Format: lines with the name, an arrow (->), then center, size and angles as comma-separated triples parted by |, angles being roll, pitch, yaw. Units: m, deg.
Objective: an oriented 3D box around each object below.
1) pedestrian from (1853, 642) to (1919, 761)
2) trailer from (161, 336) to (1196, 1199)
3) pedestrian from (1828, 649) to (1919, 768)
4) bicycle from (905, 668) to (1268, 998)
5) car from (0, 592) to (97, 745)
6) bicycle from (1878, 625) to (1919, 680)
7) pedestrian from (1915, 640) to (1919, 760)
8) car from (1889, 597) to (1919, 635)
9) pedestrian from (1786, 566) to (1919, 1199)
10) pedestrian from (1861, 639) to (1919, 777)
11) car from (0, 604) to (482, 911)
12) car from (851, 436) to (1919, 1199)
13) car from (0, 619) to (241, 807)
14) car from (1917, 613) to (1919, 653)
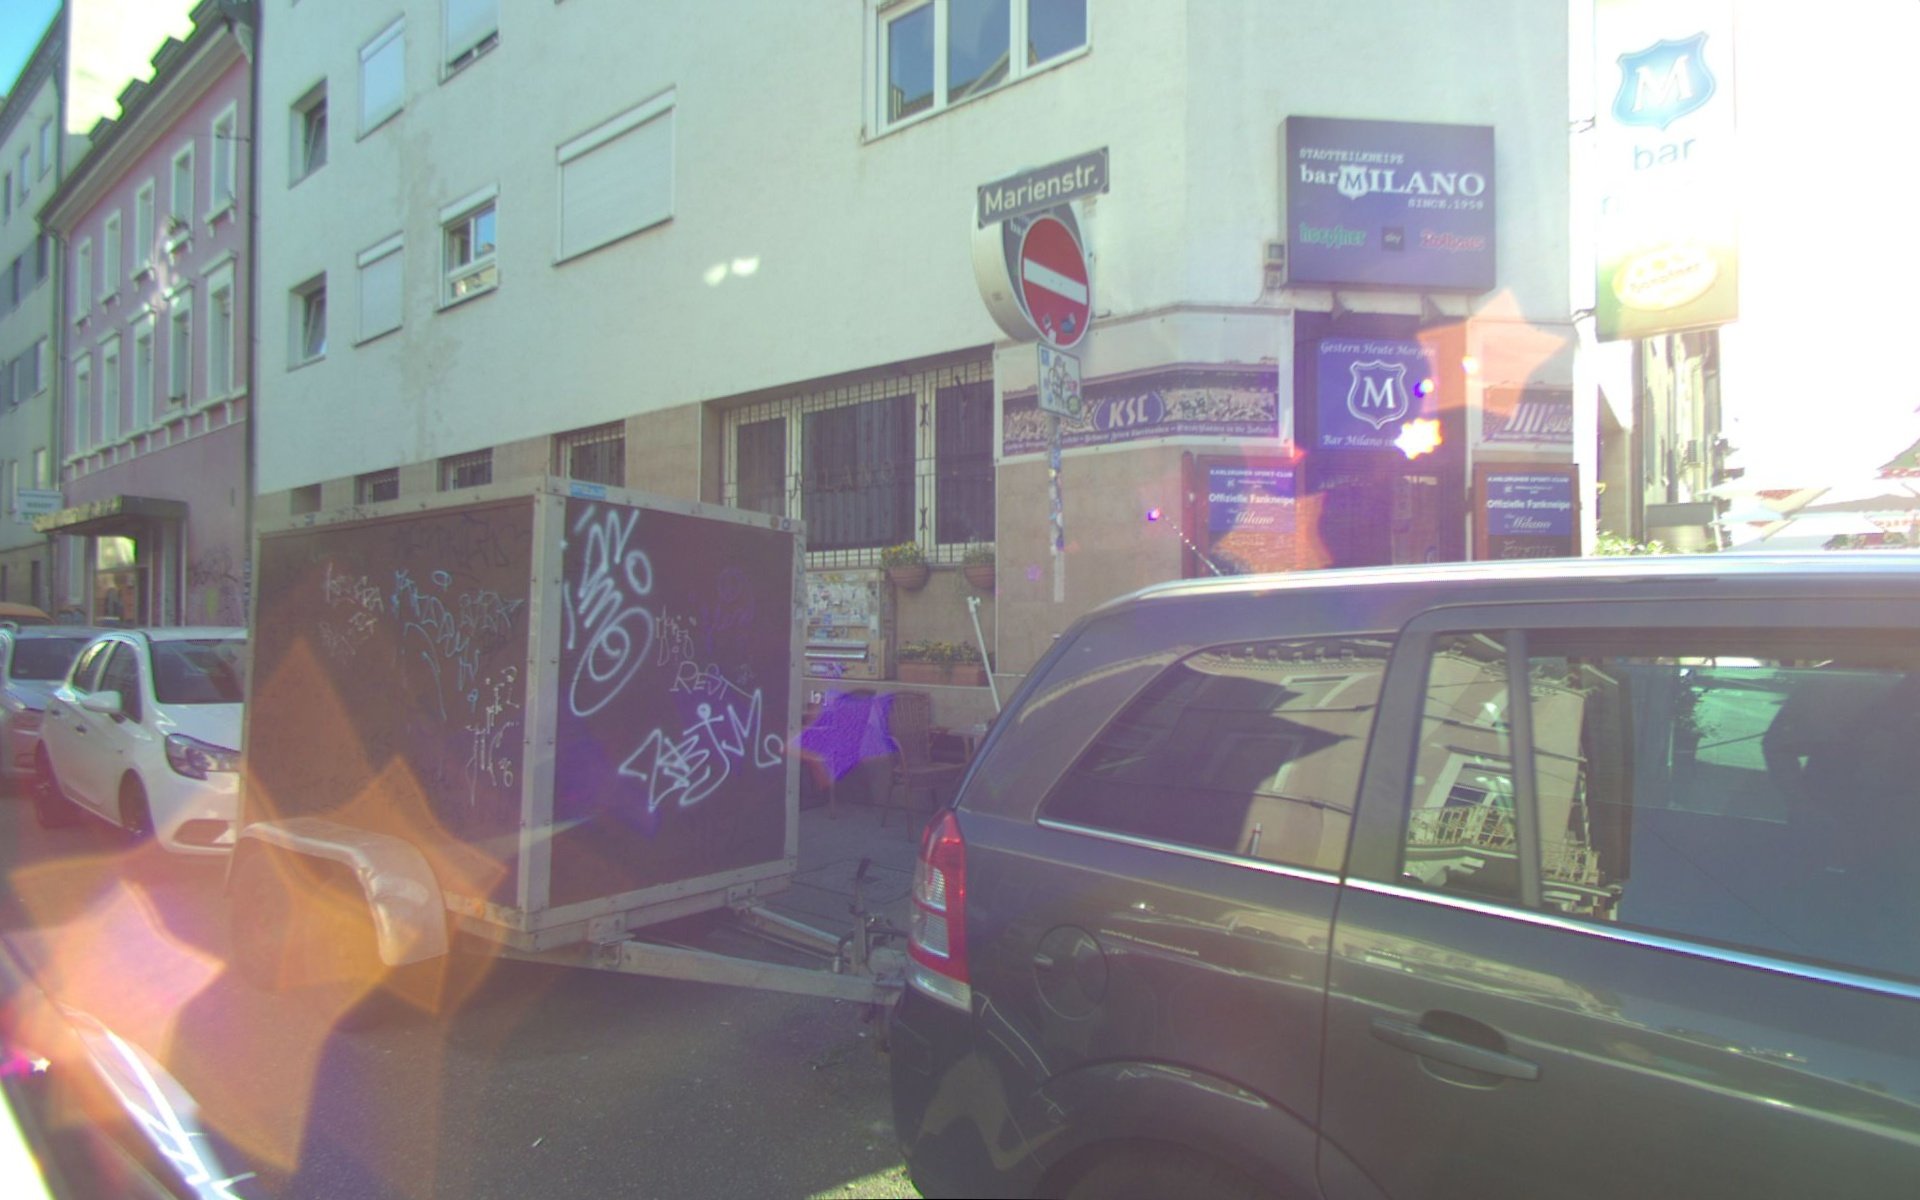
pedestrian -> 10.741, 1.133, 11.528 | 0.648, 1.275, 0.617 | -1, 0, -23
trailer -> -1.424, 0.505, 4.107 | 4.354, 2.077, 1.647 | 0, -2, 35
pedestrian -> 9.581, 1.103, 10.509 | 0.534, 1.153, 0.661 | -1, 0, -8
bicycle -> 0.521, 0.907, 4.393 | 1.457, 1.147, 0.571 | -1, 0, 33
car -> -13.349, 0.851, 13.611 | 4.237, 1.859, 1.785 | -1, -2, 38
bicycle -> 19.499, 1.052, 20.061 | 1.927, 1.078, 0.604 | -1, 0, 43
pedestrian -> 9.623, 0.957, 9.505 | 0.678, 1.153, 0.661 | -1, 0, -8
car -> 41.579, 0.657, 43.488 | 1.767, 1.581, 4.110 | -1, -1, 34
pedestrian -> 2.519, 0.746, 2.574 | 0.581, 1.656, 0.622 | 1, 1, 44
pedestrian -> 8.579, 0.955, 9.079 | 0.650, 1.163, 0.682 | -1, 0, -43
car -> -5.102, 0.846, 7.014 | 3.812, 1.566, 1.661 | -1, -2, 38
car -> 1.959, 0.650, 1.425 | 4.158, 1.618, 1.706 | -2, -3, 36
car -> -9.035, 0.960, 10.179 | 4.524, 1.508, 1.657 | -1, -2, 38
car -> 39.137, 1.339, 39.573 | 1.767, 1.664, 4.110 | -1, -1, 34
